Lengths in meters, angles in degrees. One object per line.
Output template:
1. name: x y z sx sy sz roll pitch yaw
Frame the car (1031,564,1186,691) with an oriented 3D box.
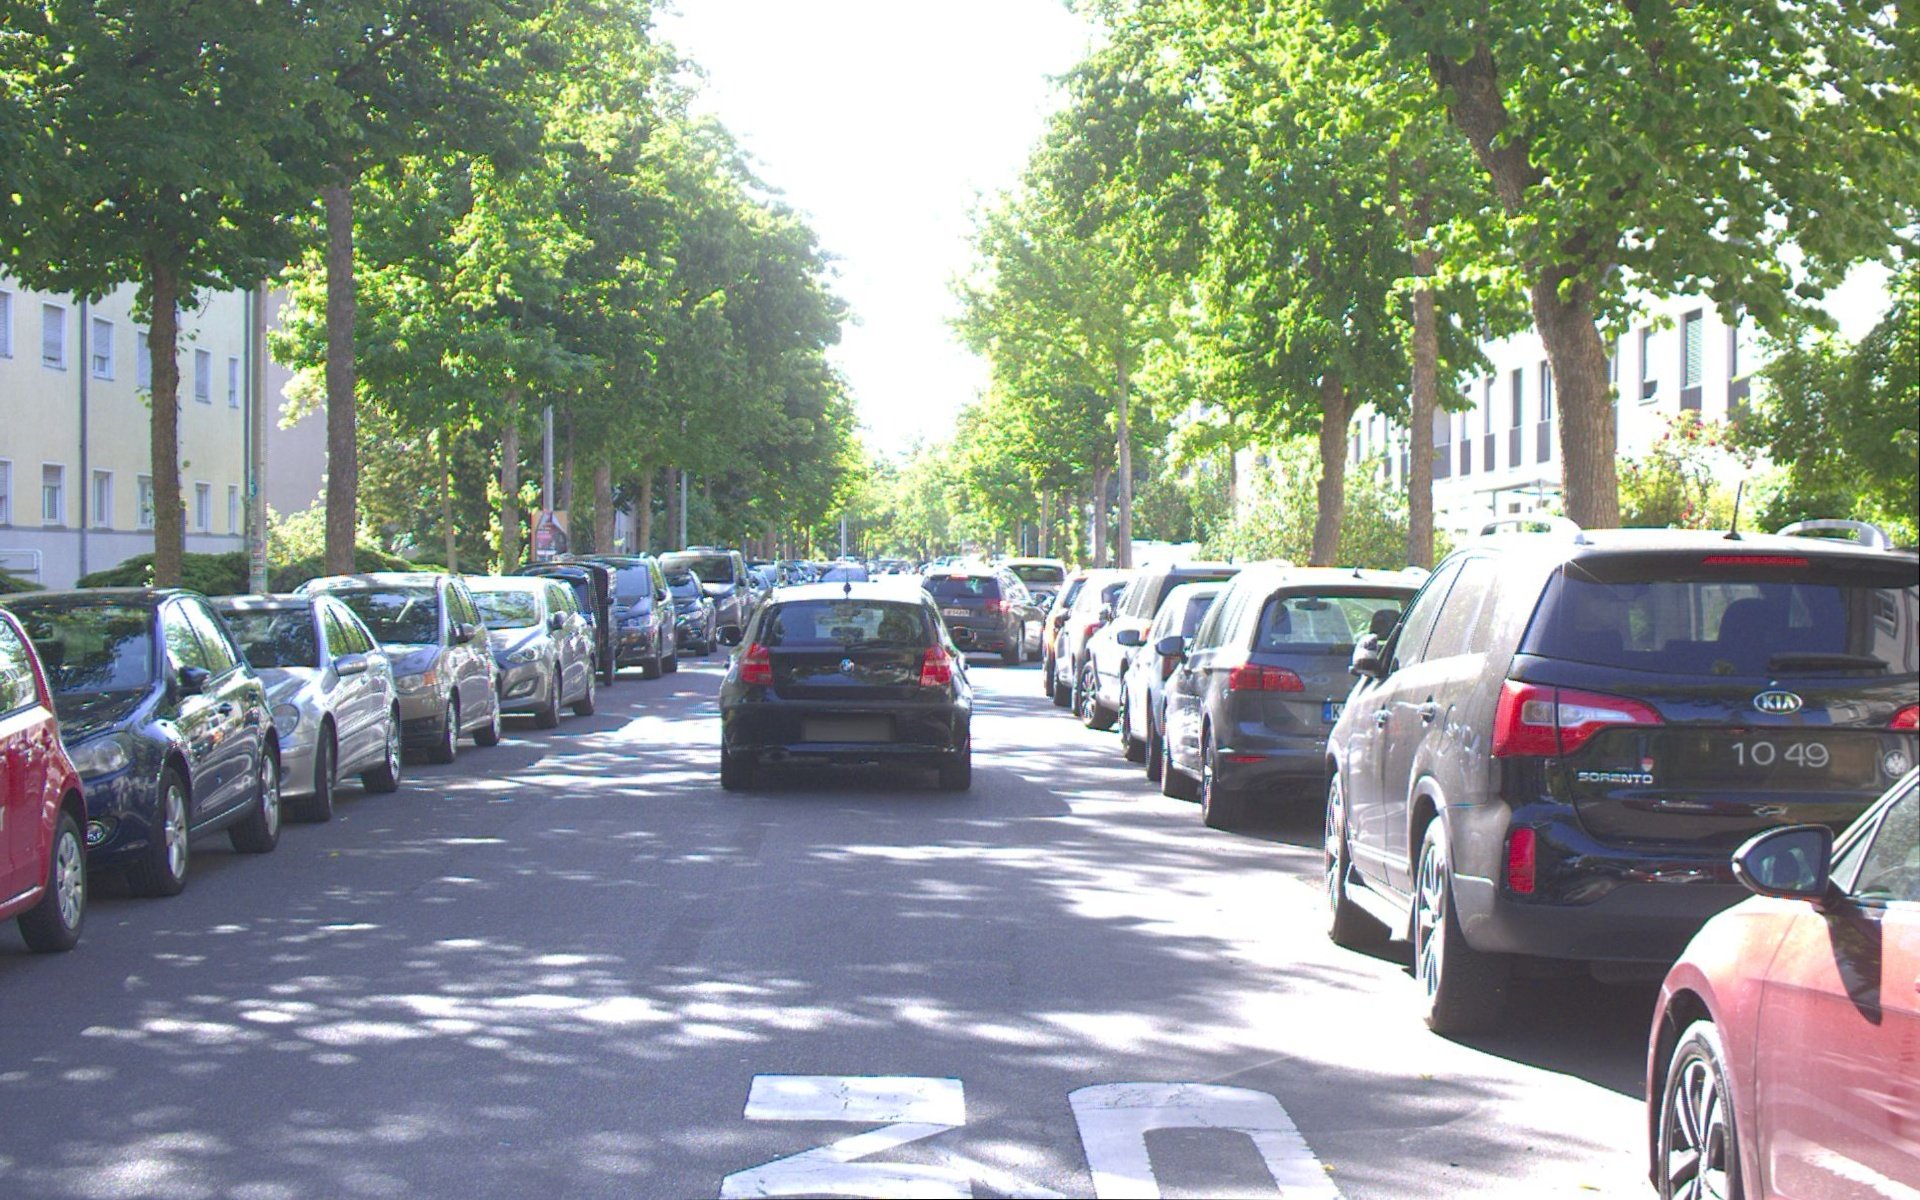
1. car: 1.752 0.294 41.591 1.636 1.450 4.100 0 1 -1

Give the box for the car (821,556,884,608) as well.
1. car: -2.968 -0.508 95.166 1.505 1.421 3.177 0 1 3

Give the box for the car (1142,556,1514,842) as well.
1. car: 2.253 0.548 22.171 1.684 1.582 4.536 2 1 -2

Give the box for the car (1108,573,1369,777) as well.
1. car: 2.086 0.521 26.766 1.629 1.420 4.368 -1 1 0

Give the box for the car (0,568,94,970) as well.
1. car: -4.390 0.636 12.528 1.665 1.481 3.256 0 1 0

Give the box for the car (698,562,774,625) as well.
1. car: -5.286 -0.179 81.358 1.612 1.422 4.058 -1 1 -1

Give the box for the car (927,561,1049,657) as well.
1. car: 0.396 0.110 53.624 1.649 1.421 4.002 0 1 -3

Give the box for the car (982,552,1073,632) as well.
1. car: 1.439 -0.178 73.537 1.848 1.625 4.410 1 0 1

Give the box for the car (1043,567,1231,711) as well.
1. car: 1.831 0.371 36.529 1.649 1.423 3.613 -1 1 -3

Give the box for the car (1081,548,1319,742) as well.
1. car: 2.127 0.363 31.410 1.648 1.650 3.847 0 1 -4

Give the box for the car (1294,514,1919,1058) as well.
1. car: 2.398 0.548 12.910 1.780 1.692 4.298 0 1 -1

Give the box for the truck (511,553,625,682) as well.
1. truck: -4.919 0.201 43.324 1.084 1.572 2.432 0 1 2

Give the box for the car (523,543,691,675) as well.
1. car: -4.858 0.084 47.955 1.849 1.675 4.977 -2 1 -1

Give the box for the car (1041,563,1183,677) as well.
1. car: 1.996 0.232 46.157 1.700 1.444 4.082 0 1 0

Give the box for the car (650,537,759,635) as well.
1. car: -5.203 -0.298 70.528 1.826 1.898 5.142 -1 1 0

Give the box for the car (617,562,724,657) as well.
1. car: -5.008 0.136 59.913 1.507 1.543 4.779 -2 1 -1

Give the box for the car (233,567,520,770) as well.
1. car: -4.808 0.512 28.841 1.620 1.510 4.269 -2 1 0

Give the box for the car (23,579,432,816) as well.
1. car: -4.740 0.567 22.903 1.745 1.364 4.674 -1 1 0

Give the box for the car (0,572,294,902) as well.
1. car: -4.578 0.601 17.426 1.665 1.454 3.933 0 1 0

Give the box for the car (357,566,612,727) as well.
1. car: -4.683 0.408 34.457 1.792 1.439 4.688 -1 1 1

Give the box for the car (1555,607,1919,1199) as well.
1. car: 2.343 0.750 5.810 1.611 1.405 4.352 0 1 -4

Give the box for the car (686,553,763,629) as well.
1. car: -5.192 -0.213 76.049 1.612 1.606 4.230 -1 1 -3

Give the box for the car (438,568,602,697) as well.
1. car: -4.982 0.338 39.299 1.520 1.390 3.727 0 1 -2

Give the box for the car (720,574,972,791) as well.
1. car: -0.783 0.533 24.354 1.649 1.392 3.412 0 1 -1

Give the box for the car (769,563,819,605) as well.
1. car: -5.722 -0.555 118.575 1.612 1.387 3.866 -1 1 -1

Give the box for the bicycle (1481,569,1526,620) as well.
1. bicycle: 11.412 -0.113 72.213 0.546 1.051 1.780 -1 1 -3
